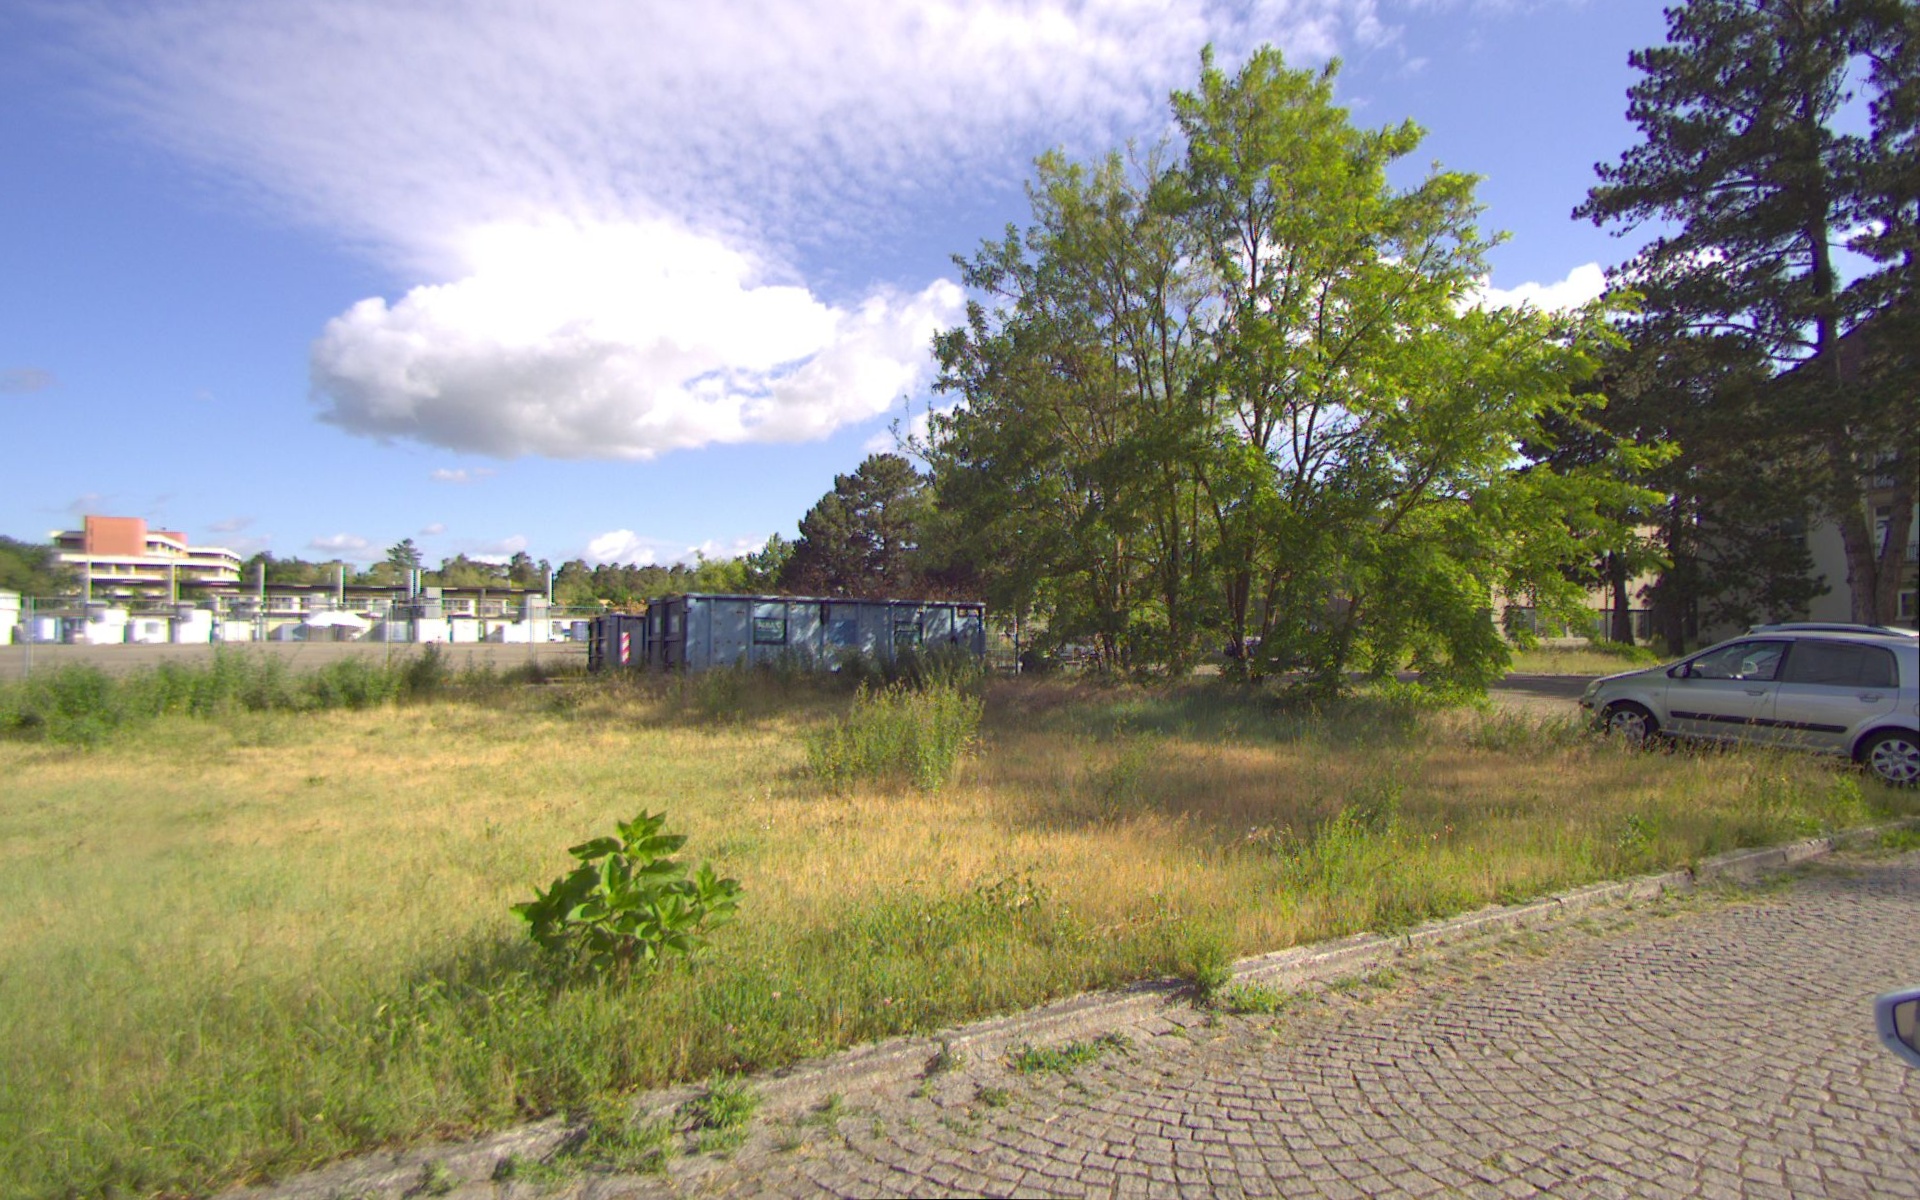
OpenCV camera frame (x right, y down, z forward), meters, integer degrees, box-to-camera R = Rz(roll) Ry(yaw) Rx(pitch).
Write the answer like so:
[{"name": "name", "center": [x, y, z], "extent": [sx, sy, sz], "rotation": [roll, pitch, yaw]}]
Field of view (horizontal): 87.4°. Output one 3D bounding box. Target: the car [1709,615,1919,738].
[{"name": "car", "center": [13.725, 1.095, 14.686], "extent": [1.865, 1.614, 4.057], "rotation": [1, 1, -32]}]

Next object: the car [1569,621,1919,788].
[{"name": "car", "center": [9.248, 1.055, 11.331], "extent": [1.628, 1.507, 3.725], "rotation": [1, 1, -32]}]

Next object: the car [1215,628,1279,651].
[{"name": "car", "center": [19.146, 2.654, 66.905], "extent": [3.952, 1.452, 1.894], "rotation": [2, -2, -30]}]

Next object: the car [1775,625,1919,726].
[{"name": "car", "center": [15.803, 1.225, 15.770], "extent": [1.810, 1.488, 4.309], "rotation": [1, 1, -32]}]

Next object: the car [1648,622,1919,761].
[{"name": "car", "center": [11.411, 1.105, 12.824], "extent": [1.783, 1.500, 3.964], "rotation": [1, 1, -32]}]
